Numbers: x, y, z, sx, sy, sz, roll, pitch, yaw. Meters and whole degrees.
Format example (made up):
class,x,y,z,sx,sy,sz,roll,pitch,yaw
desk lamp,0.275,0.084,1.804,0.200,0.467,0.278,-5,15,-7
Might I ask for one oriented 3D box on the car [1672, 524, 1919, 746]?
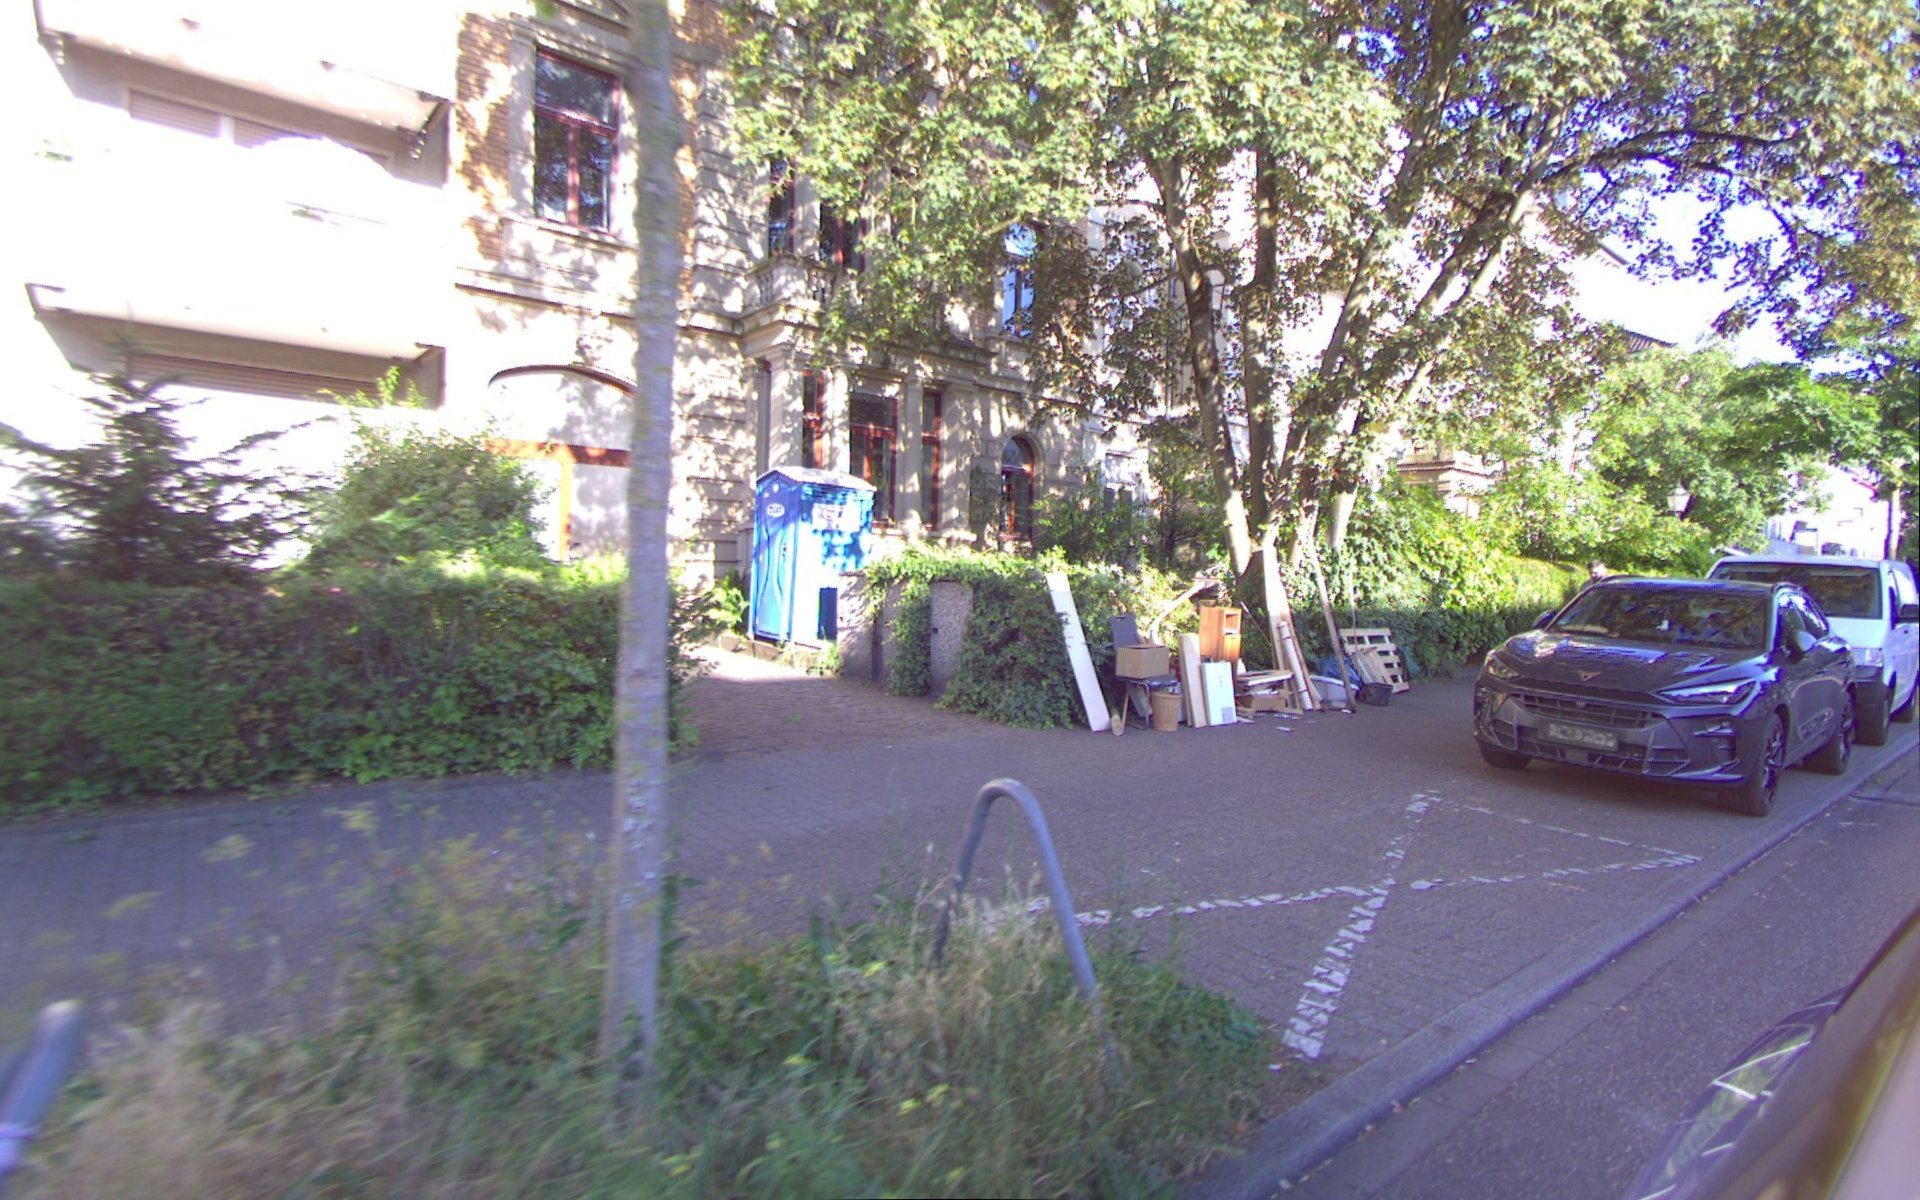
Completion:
class,x,y,z,sx,sy,sz,roll,pitch,yaw
car,10.179,0.300,11.960,4.561,2.129,1.906,0,2,-42

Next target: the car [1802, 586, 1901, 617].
class,x,y,z,sx,sy,sz,roll,pitch,yaw
car,47.727,0.036,54.238,1.550,1.523,3.869,0,2,-45

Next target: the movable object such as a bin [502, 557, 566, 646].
class,x,y,z,sx,sy,sz,roll,pitch,yaw
movable object such as a bin,-5.338,0.012,12.683,0.611,1.071,0.452,0,1,-42

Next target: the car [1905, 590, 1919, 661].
class,x,y,z,sx,sy,sz,roll,pitch,yaw
car,21.717,0.562,21.582,4.534,1.437,1.761,0,4,-41

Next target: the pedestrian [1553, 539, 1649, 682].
class,x,y,z,sx,sy,sz,roll,pitch,yaw
pedestrian,8.495,0.116,13.415,1.071,1.796,0.821,0,1,-44

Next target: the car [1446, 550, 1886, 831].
class,x,y,z,sx,sy,sz,roll,pitch,yaw
car,5.851,0.509,8.186,4.236,1.623,1.860,0,4,-41
